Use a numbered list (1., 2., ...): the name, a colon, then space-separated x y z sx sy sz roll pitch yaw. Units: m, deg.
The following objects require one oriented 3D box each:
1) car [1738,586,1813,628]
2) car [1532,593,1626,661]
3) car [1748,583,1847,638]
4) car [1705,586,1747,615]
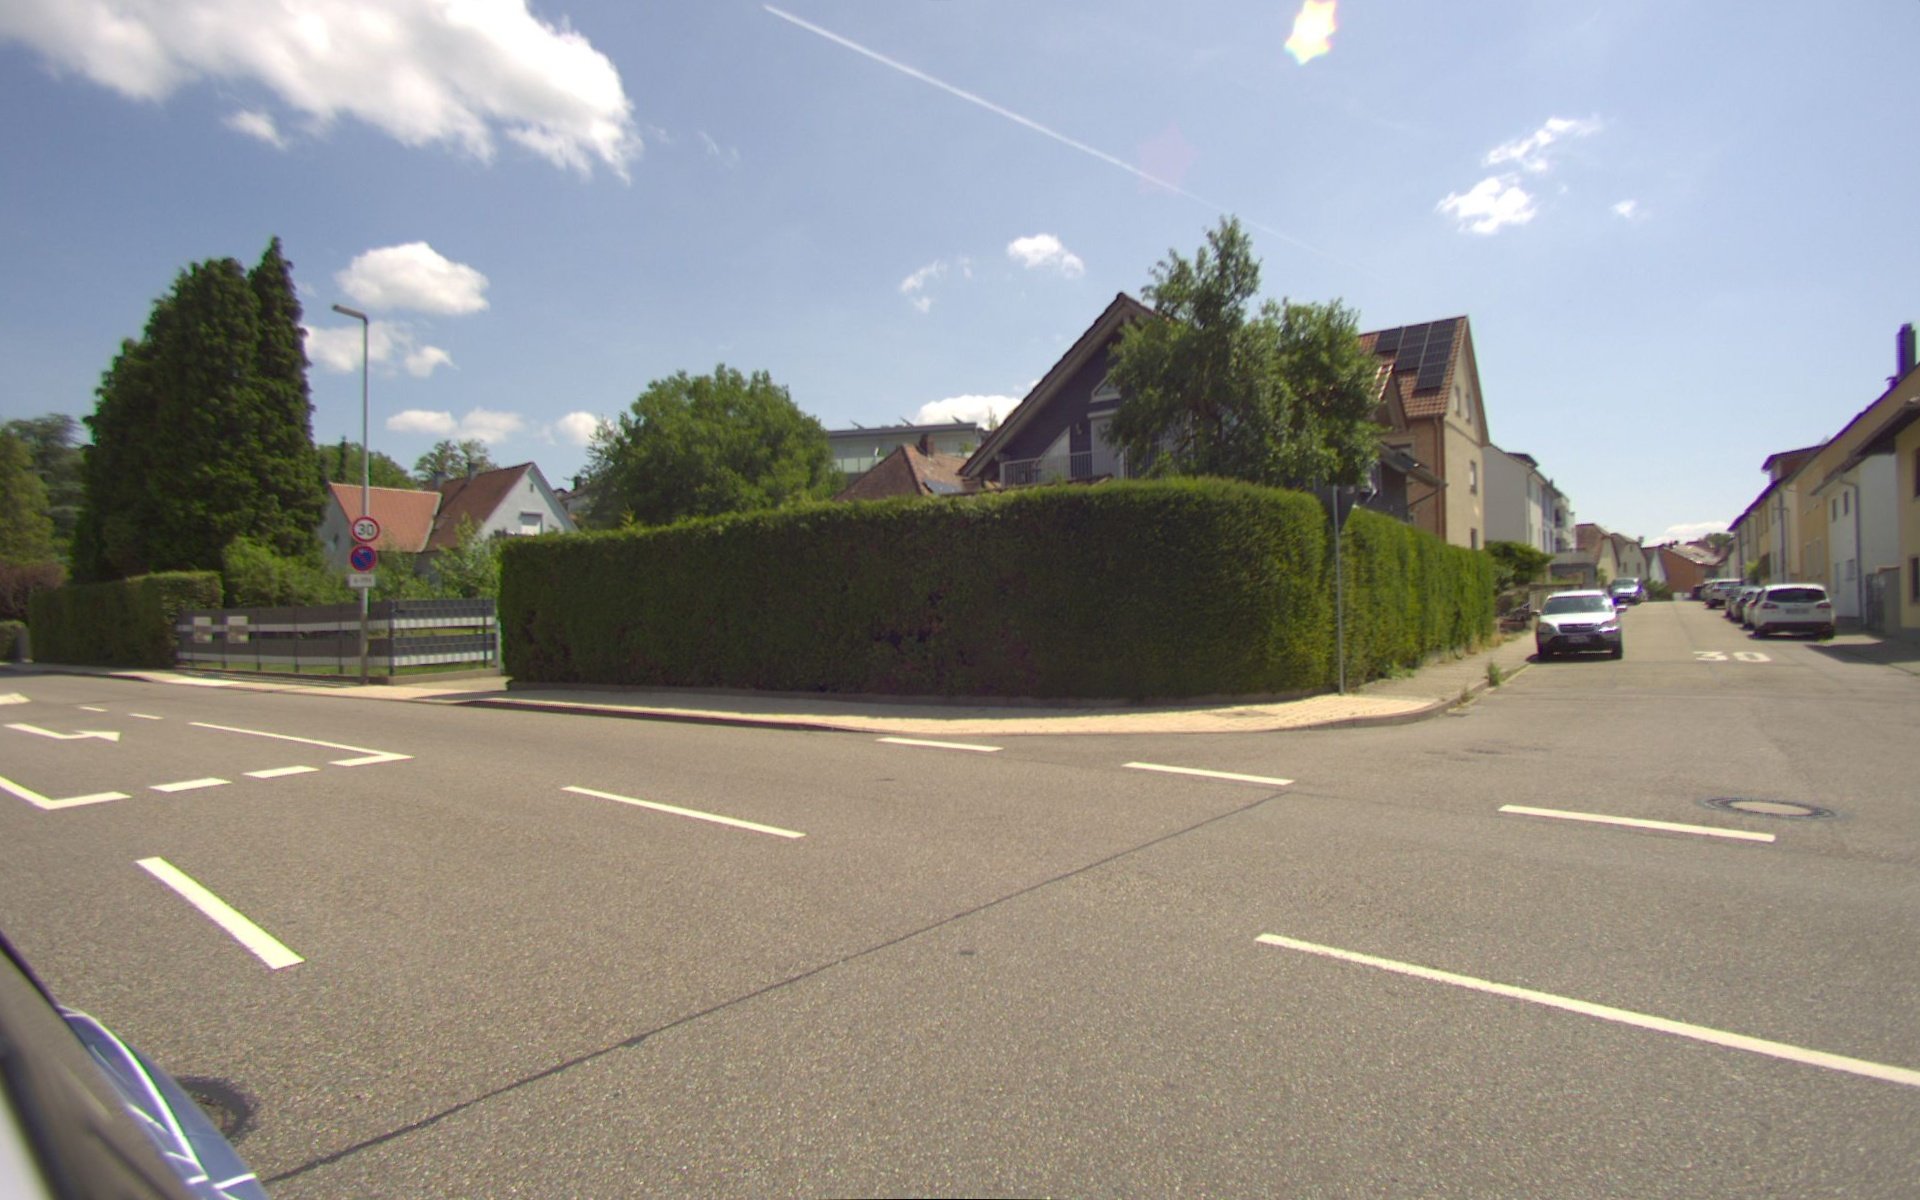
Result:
1. car: 29.792 0.248 37.067 1.772 1.453 3.954 -1 0 34
2. car: 15.413 0.630 25.123 1.786 1.478 3.730 -5 -2 34
3. car: 25.897 0.296 31.430 1.949 1.608 3.954 -1 0 34
4. car: 43.509 0.032 57.559 1.639 1.582 3.954 -1 0 34
